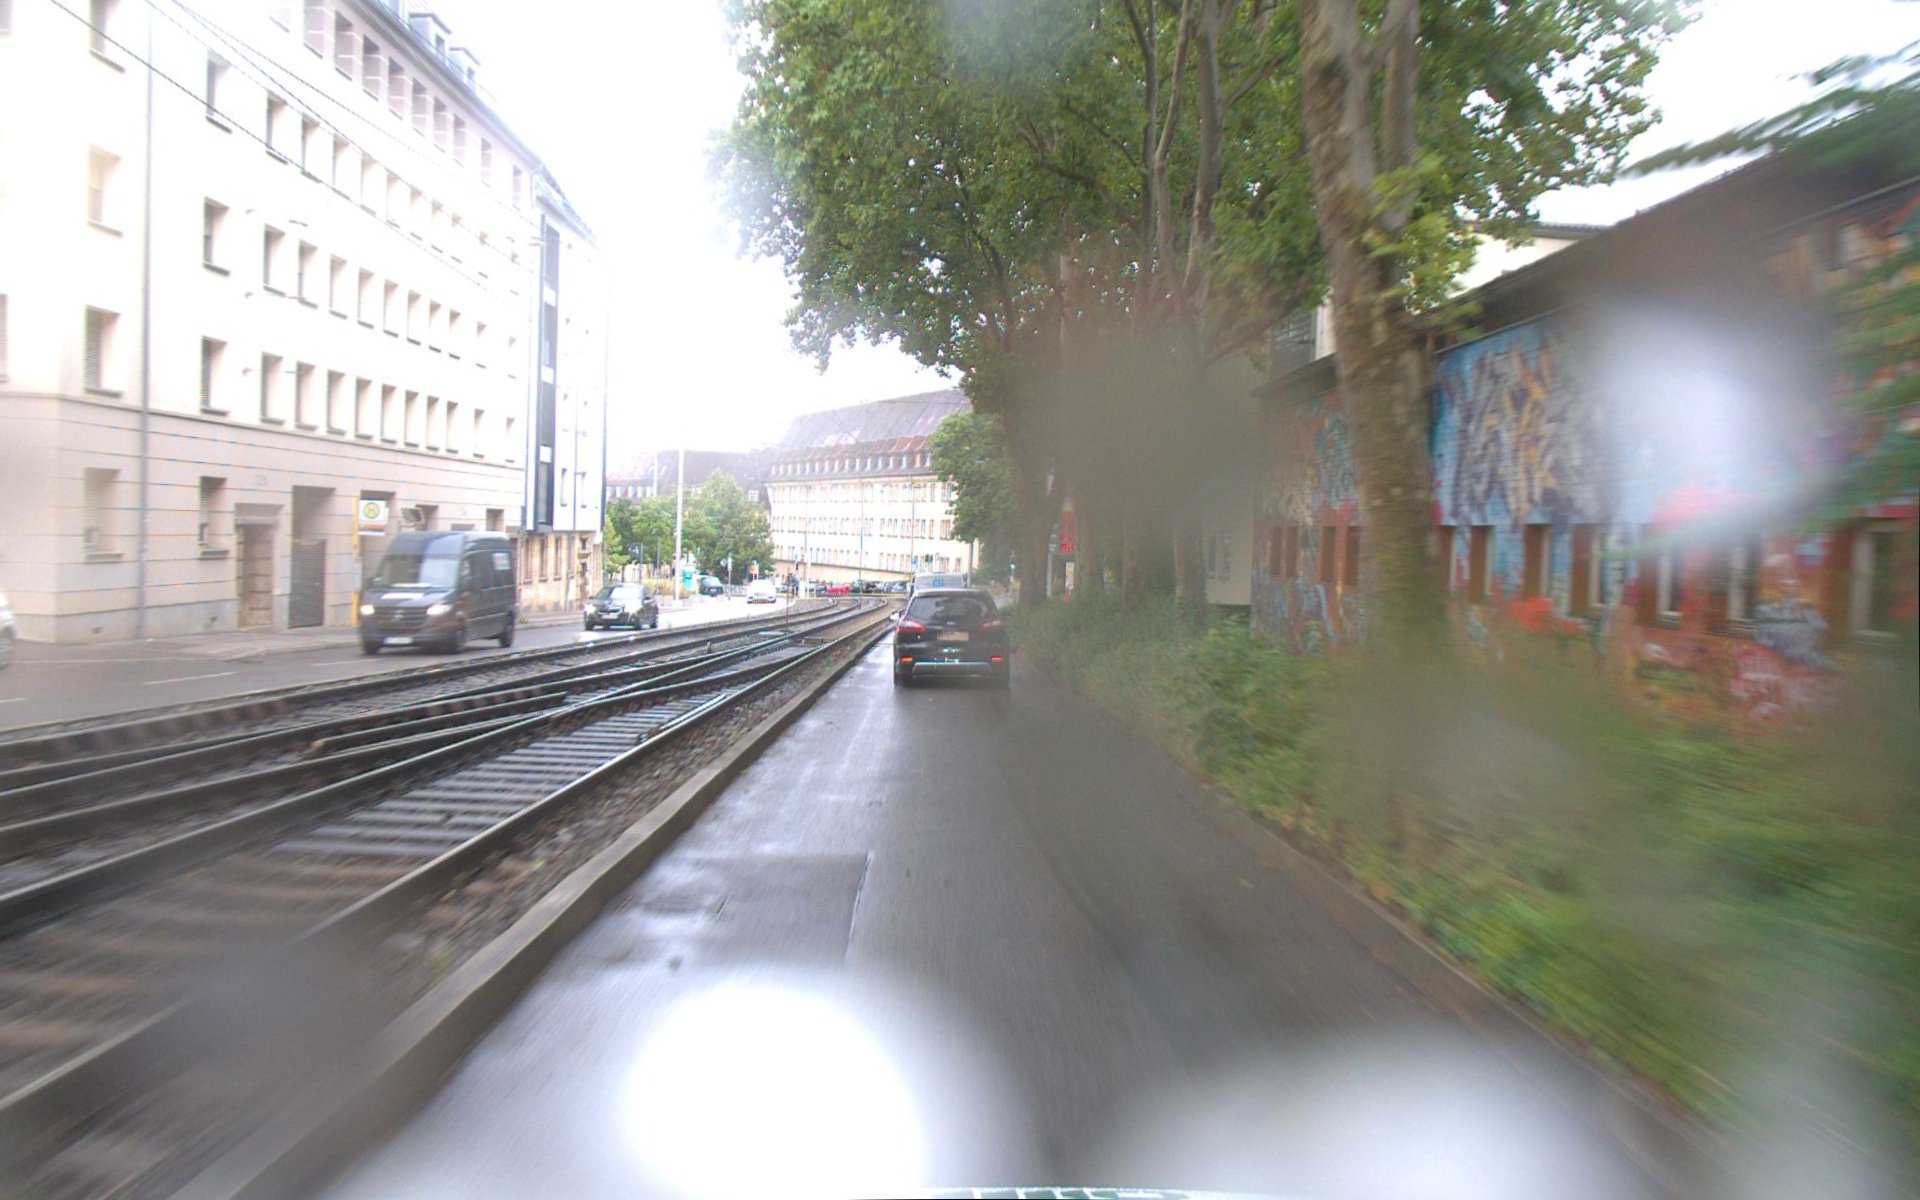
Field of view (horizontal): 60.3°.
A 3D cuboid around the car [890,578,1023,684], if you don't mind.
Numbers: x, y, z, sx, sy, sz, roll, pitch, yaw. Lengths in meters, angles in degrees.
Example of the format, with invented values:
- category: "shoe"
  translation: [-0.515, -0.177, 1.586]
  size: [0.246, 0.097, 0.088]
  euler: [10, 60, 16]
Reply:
- category: "car"
  translation: [-0.117, 0.437, 26.360]
  size: [1.894, 1.478, 4.316]
  euler: [2, 0, -2]

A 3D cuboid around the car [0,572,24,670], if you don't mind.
- category: "car"
  translation: [-15.302, 0.286, 23.862]
  size: [1.674, 1.475, 3.539]
  euler: [3, 0, -3]

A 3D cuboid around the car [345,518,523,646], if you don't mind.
- category: "car"
  translation: [-11.238, -0.352, 35.867]
  size: [1.953, 2.494, 5.997]
  euler: [1, 0, -1]

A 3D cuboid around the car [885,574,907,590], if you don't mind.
- category: "car"
  translation: [-6.253, -1.754, 161.559]
  size: [1.627, 1.502, 3.636]
  euler: [1, 0, -9]

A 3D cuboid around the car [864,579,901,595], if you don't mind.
- category: "car"
  translation: [-7.757, -1.307, 165.224]
  size: [1.977, 1.569, 3.951]
  euler: [1, 0, -35]

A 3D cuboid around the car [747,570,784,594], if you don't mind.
- category: "car"
  translation: [-12.696, -1.169, 108.149]
  size: [1.762, 1.508, 4.840]
  euler: [1, 0, 0]

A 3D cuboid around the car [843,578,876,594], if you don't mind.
- category: "car"
  translation: [-10.320, -1.443, 170.110]
  size: [1.567, 1.569, 3.951]
  euler: [1, 0, -35]

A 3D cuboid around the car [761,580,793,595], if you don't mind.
- category: "car"
  translation: [-20.657, -1.443, 186.540]
  size: [1.976, 1.569, 3.954]
  euler: [1, 0, -33]

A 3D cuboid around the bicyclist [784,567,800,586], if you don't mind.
- category: "bicyclist"
  translation: [-11.705, -1.640, 115.213]
  size: [0.766, 1.336, 0.780]
  euler: [-1, 1, -38]

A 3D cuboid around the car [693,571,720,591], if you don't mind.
- category: "car"
  translation: [-20.328, -1.534, 132.514]
  size: [1.957, 1.569, 3.990]
  euler: [1, 0, -10]

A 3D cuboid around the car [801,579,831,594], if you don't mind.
- category: "car"
  translation: [-15.608, -1.502, 179.085]
  size: [1.971, 1.569, 3.964]
  euler: [-1, 1, -28]

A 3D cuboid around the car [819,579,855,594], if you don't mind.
- category: "car"
  translation: [-12.950, -1.416, 174.446]
  size: [1.978, 1.569, 3.948]
  euler: [1, 0, -37]

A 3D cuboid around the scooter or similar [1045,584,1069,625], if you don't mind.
- category: "scooter or similar"
  translation: [3.083, 0.142, 52.554]
  size: [0.365, 1.256, 1.371]
  euler: [0, -2, 21]

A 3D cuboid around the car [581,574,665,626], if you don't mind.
- category: "car"
  translation: [-11.068, -0.033, 54.617]
  size: [1.842, 1.511, 4.854]
  euler: [1, 2, -1]

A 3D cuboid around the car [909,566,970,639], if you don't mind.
- category: "car"
  translation: [-0.598, 0.058, 49.399]
  size: [1.705, 2.049, 3.903]
  euler: [1, 0, 0]
